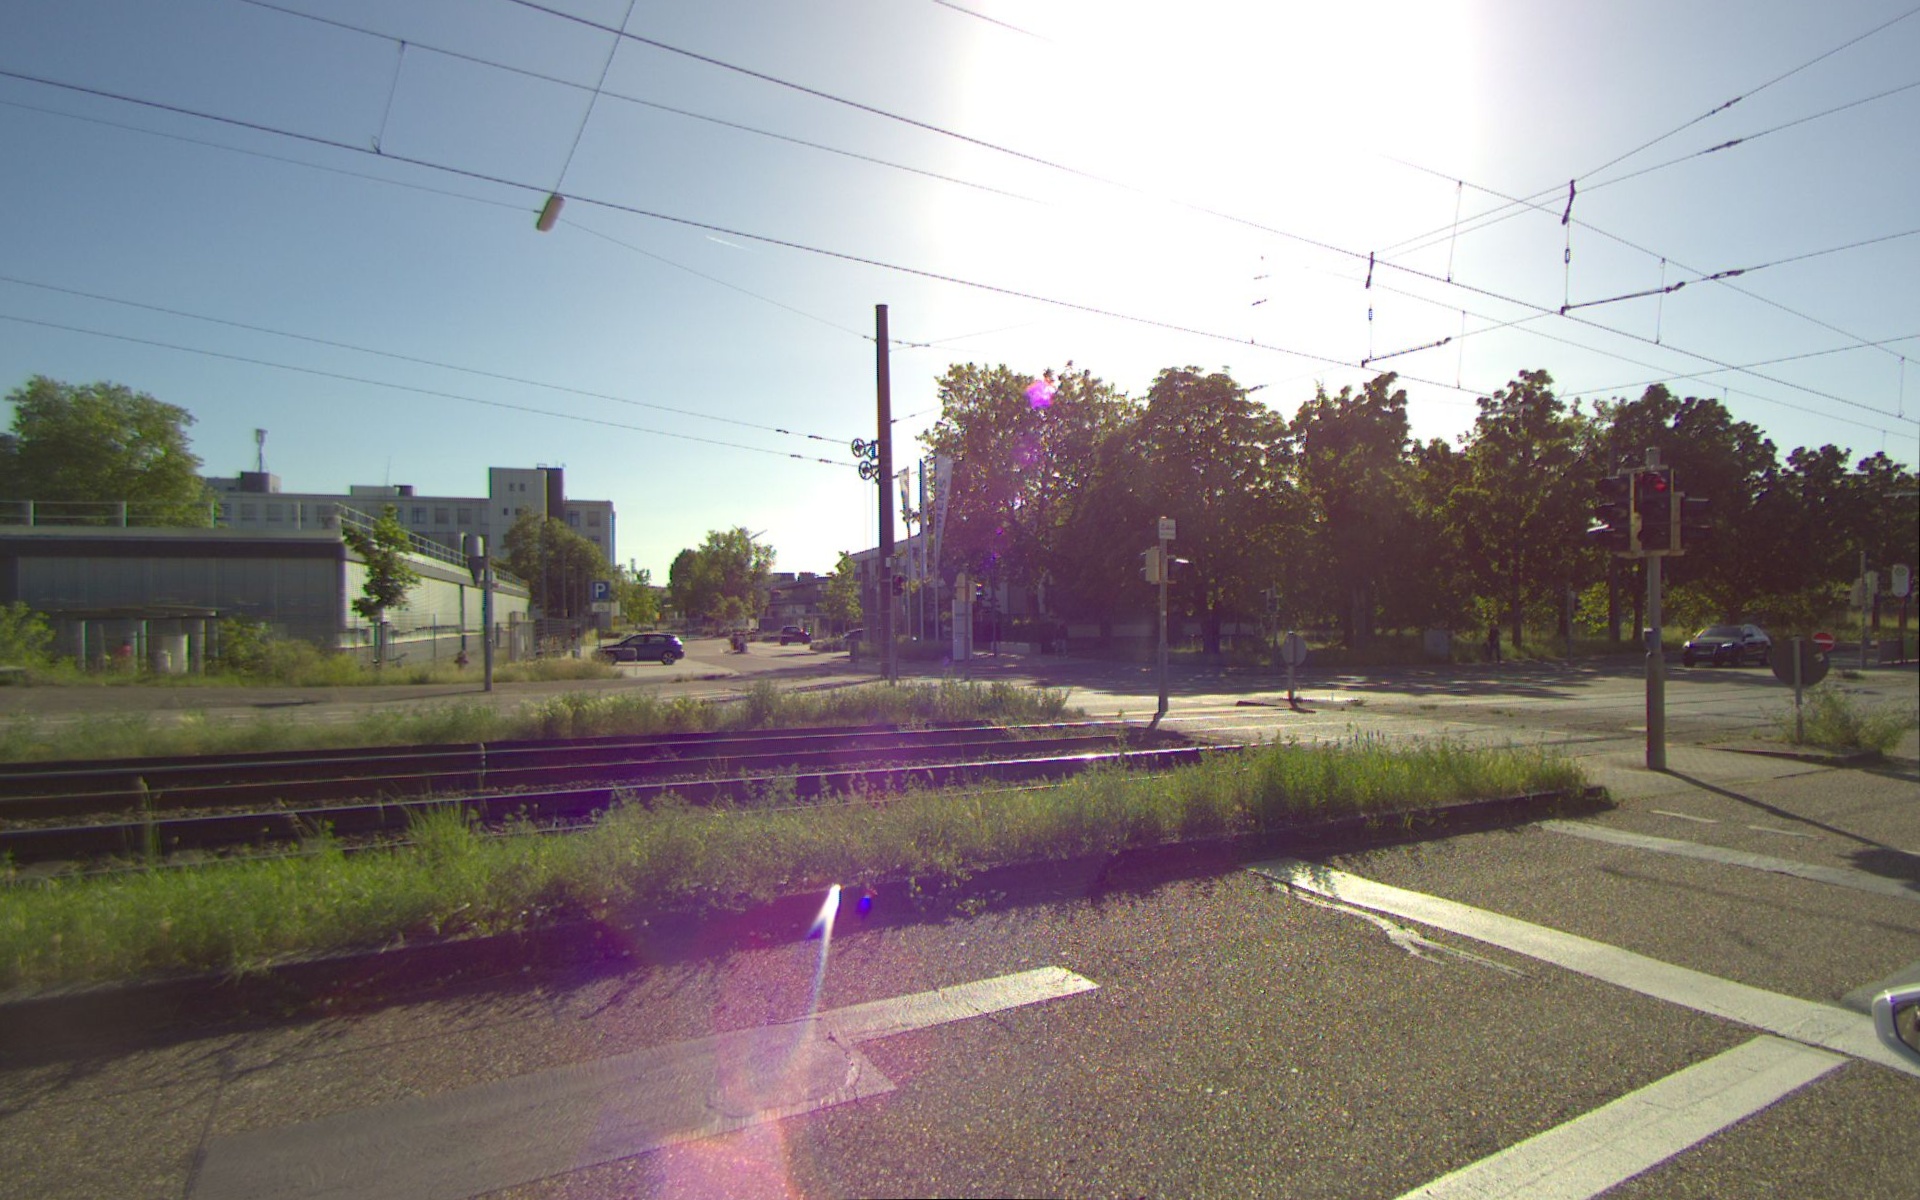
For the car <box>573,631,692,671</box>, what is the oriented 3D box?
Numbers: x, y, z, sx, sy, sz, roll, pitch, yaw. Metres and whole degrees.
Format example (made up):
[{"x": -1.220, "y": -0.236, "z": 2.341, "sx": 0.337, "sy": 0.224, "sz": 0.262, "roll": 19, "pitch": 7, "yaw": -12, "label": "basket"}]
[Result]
[{"x": -15.403, "y": 2.399, "z": 47.388, "sx": 5.210, "sy": 1.772, "sz": 2.164, "roll": 1, "pitch": -1, "yaw": -19, "label": "car"}]

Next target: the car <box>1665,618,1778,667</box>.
[{"x": 30.688, "y": 1.694, "z": 40.451, "sx": 4.740, "sy": 1.834, "sz": 2.082, "roll": 0, "pitch": -3, "yaw": -33, "label": "car"}]

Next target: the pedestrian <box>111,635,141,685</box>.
[{"x": -22.347, "y": 1.599, "z": 26.912, "sx": 0.432, "sy": 1.318, "sz": 0.441, "roll": 0, "pitch": -1, "yaw": 18, "label": "pedestrian"}]

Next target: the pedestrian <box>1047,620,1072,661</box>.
[{"x": 4.429, "y": 1.782, "z": 44.716, "sx": 0.807, "sy": 1.811, "sz": 0.950, "roll": 0, "pitch": -1, "yaw": -16, "label": "pedestrian"}]

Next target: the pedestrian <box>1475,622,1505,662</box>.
[{"x": 23.224, "y": 1.834, "z": 44.019, "sx": 0.919, "sy": 1.757, "sz": 0.761, "roll": 0, "pitch": -1, "yaw": -2, "label": "pedestrian"}]

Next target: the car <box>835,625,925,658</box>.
[{"x": -4.561, "y": 2.358, "z": 57.227, "sx": 4.768, "sy": 1.751, "sz": 2.041, "roll": 1, "pitch": -1, "yaw": -22, "label": "car"}]

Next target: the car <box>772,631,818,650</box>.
[{"x": -13.994, "y": 3.411, "z": 85.060, "sx": 3.566, "sy": 1.611, "sz": 1.792, "roll": 1, "pitch": -1, "yaw": -23, "label": "car"}]
